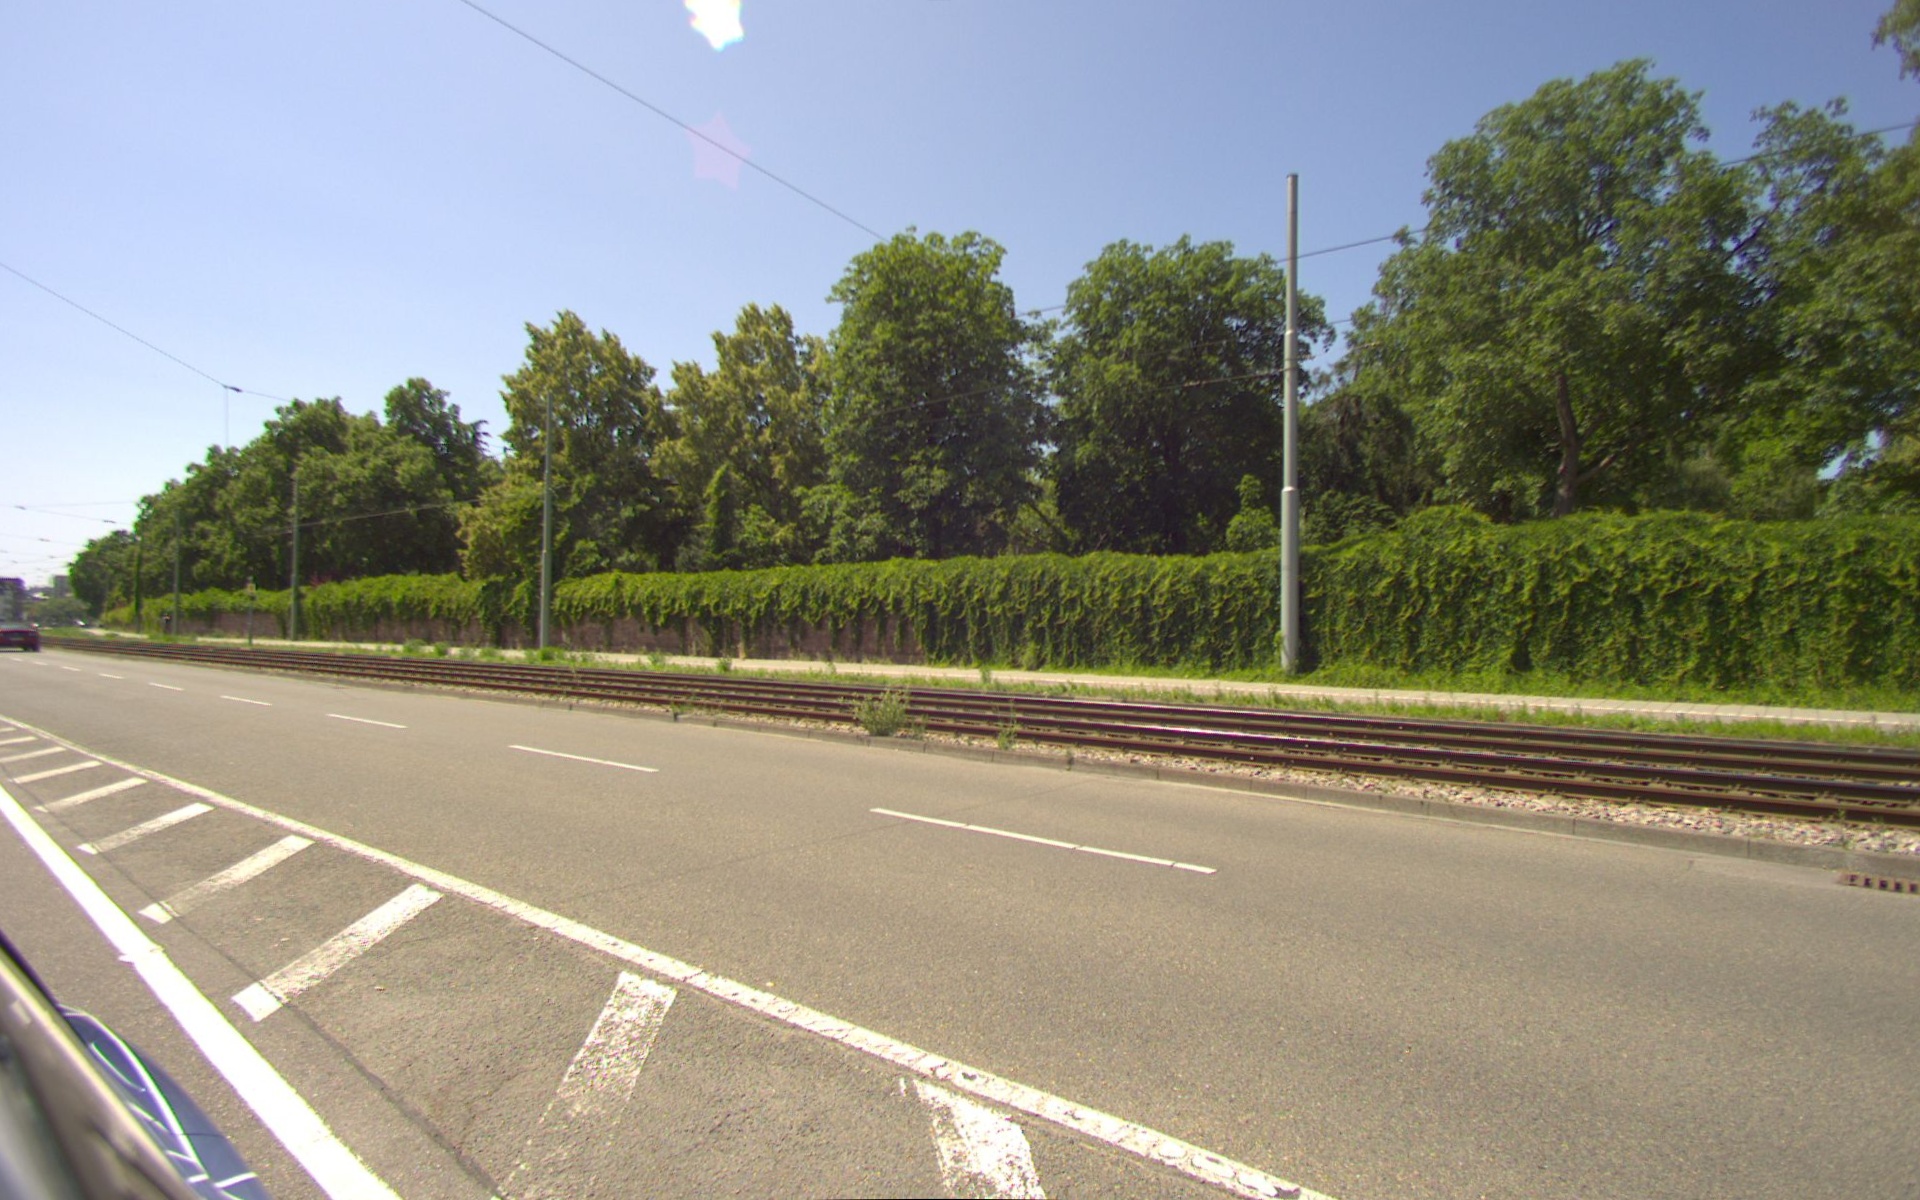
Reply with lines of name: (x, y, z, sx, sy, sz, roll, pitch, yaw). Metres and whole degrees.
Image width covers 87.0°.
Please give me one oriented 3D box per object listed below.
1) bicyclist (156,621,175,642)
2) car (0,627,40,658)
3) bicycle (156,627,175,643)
bicyclist: (-57.388, 2.249, 73.127, 0.983, 1.497, 1.001, 1, -2, -44)
car: (-44.958, 1.987, 47.702, 4.538, 1.369, 1.962, -1, -2, 43)
bicycle: (-57.380, 2.509, 73.116, 0.818, 1.165, 2.687, 1, -2, -44)
